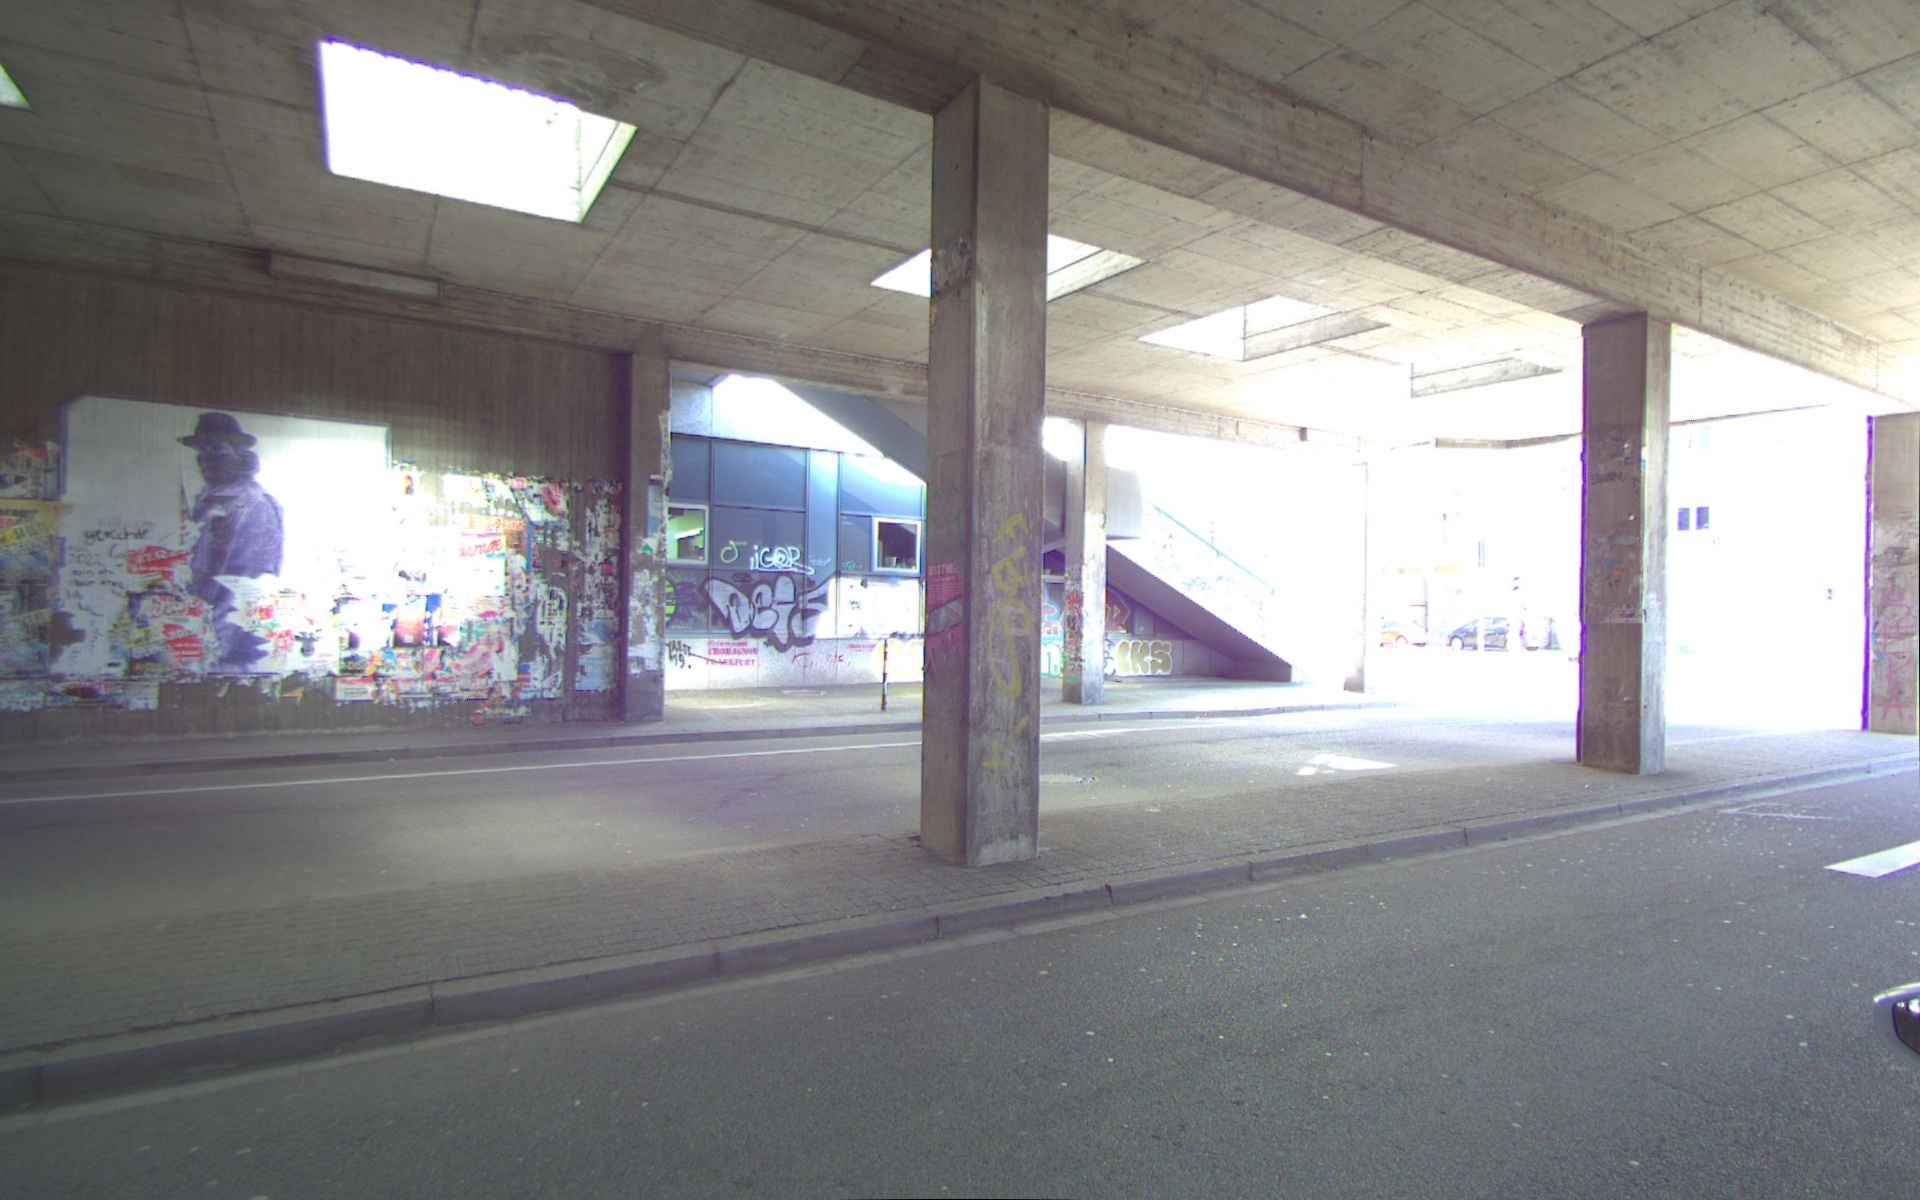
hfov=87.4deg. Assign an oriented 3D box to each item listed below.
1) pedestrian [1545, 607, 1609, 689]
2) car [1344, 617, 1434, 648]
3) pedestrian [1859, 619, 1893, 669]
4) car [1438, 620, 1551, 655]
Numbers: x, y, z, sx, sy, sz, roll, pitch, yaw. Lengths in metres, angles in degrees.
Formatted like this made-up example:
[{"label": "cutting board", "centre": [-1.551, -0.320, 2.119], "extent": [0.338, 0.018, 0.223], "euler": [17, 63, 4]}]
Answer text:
[{"label": "pedestrian", "centre": [13.860, 1.070, 22.582], "extent": [0.784, 1.785, 0.925], "euler": [2, 0, -28]}, {"label": "car", "centre": [22.478, 1.686, 52.749], "extent": [1.905, 1.428, 3.965], "euler": [2, 0, -32]}, {"label": "pedestrian", "centre": [31.778, 1.522, 34.852], "extent": [0.732, 1.659, 0.669], "euler": [2, 0, -30]}, {"label": "car", "centre": [25.365, 1.753, 47.786], "extent": [1.905, 1.428, 4.382], "euler": [2, 0, -32]}]
